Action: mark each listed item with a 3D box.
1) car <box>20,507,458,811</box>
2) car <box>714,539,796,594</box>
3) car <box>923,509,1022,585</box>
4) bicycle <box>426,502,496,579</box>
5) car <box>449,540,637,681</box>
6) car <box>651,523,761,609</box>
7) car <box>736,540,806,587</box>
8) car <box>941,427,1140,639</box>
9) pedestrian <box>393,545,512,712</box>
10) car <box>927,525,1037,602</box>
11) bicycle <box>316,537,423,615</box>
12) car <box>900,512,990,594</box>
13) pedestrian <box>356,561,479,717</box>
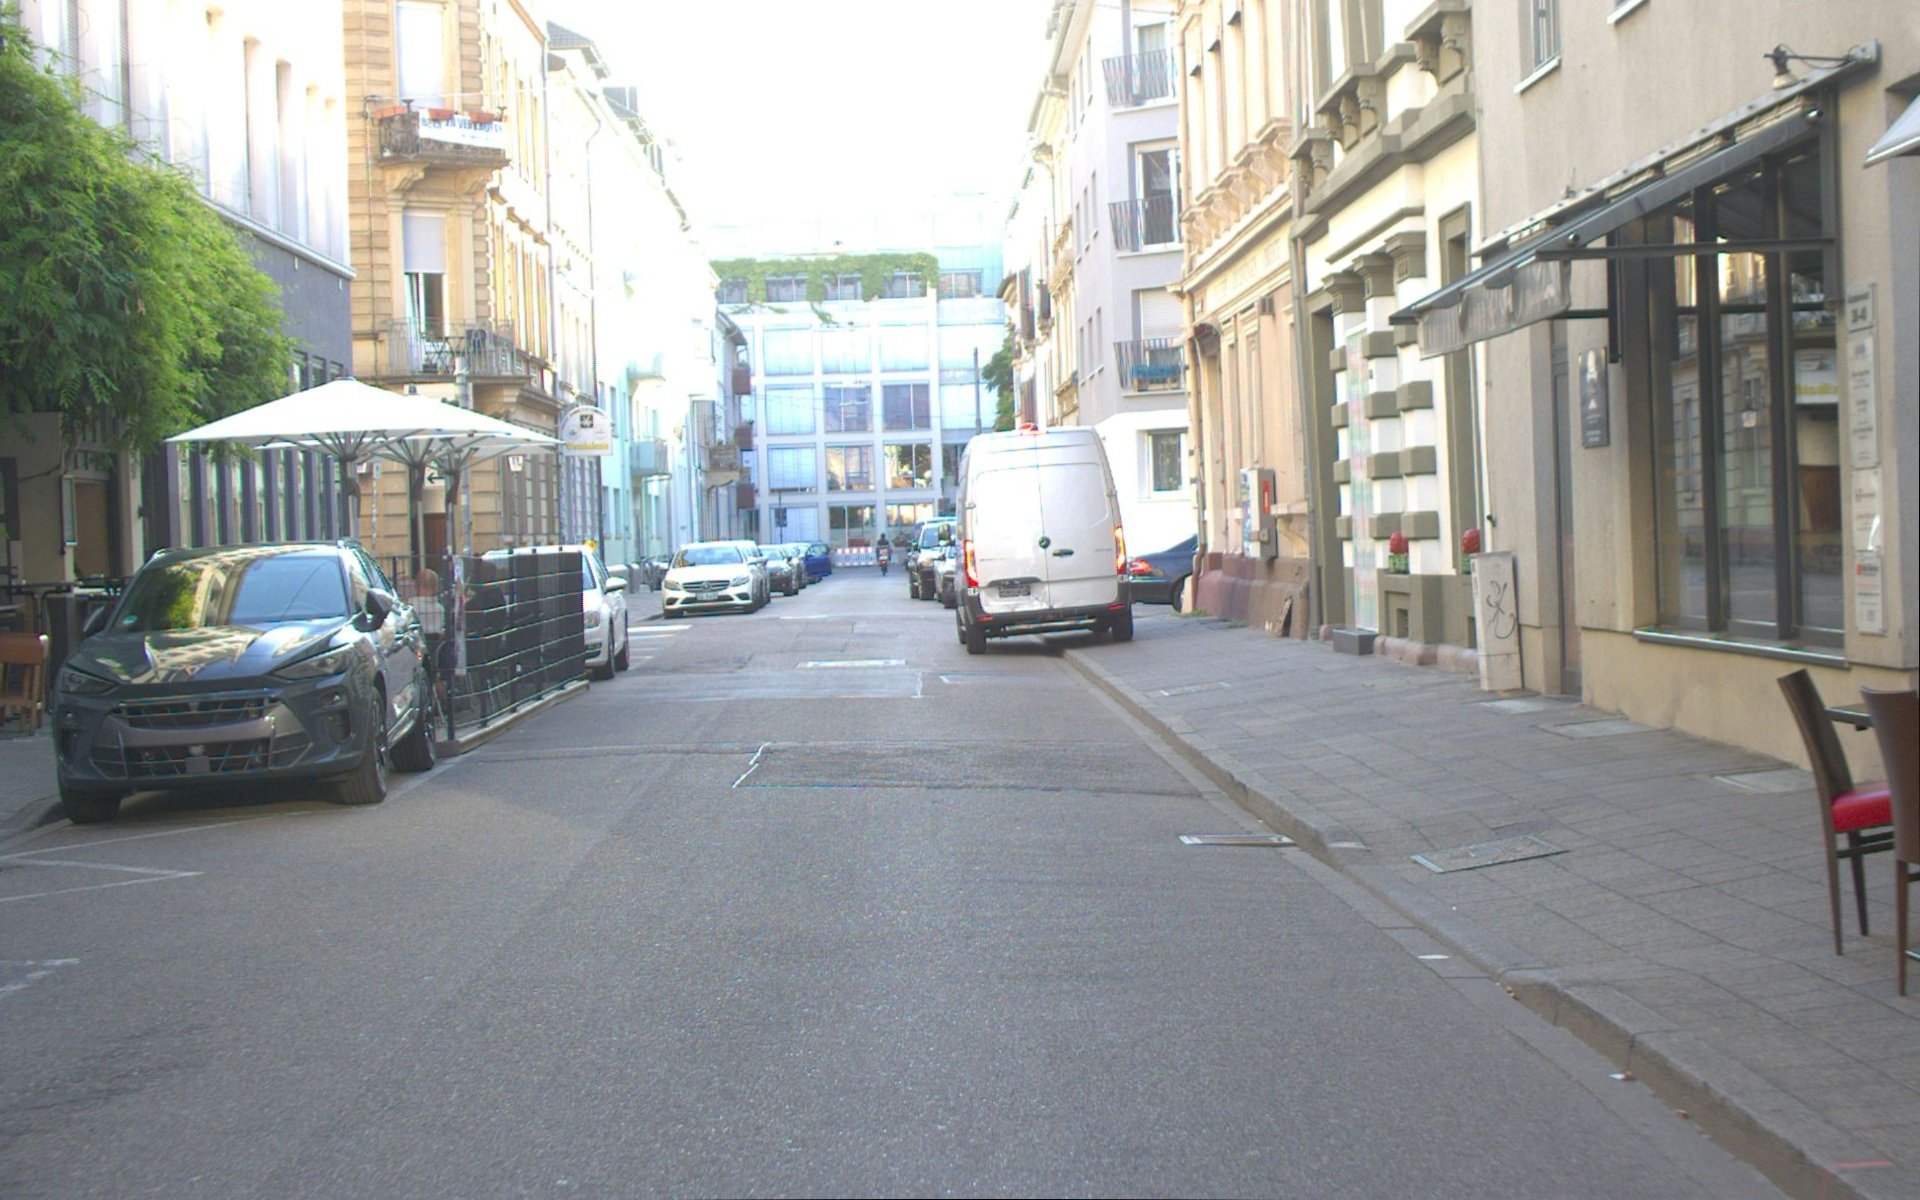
[{"bbox_3d":[-4.373,0.281,21.589,1.881,1.563,4.772,-4,1,-3],"label":"car"},{"bbox_3d":[-5.476,-0.915,92.187,1.993,1.350,4.429,-2,1,-1],"label":"car"},{"bbox_3d":[0.244,-1.152,74.322,1.963,1.552,3.889,-2,1,-2],"label":"car"},{"bbox_3d":[-6.120,-0.736,42.222,0.596,0.902,1.644,-2,1,0],"label":"bicycle"},{"bbox_3d":[-4.508,0.083,37.592,1.657,1.409,3.883,-2,1,-2],"label":"car"},{"bbox_3d":[-5.083,-0.710,69.301,1.993,1.559,4.507,-4,1,-3],"label":"car"},{"bbox_3d":[-6.047,-1.191,109.954,2.172,1.413,4.001,-2,1,-3],"label":"car"},{"bbox_3d":[0.948,-0.858,43.707,2.277,2.431,6.204,-2,1,0],"label":"car"},{"bbox_3d":[-4.064,0.219,27.600,0.781,1.282,0.915,-2,1,-1],"label":"pedestrian"},{"bbox_3d":[0.411,-0.740,68.258,1.938,1.367,3.789,-4,1,-2],"label":"car"},{"bbox_3d":[-10.408,-0.428,60.656,1.757,1.270,0.661,-2,4,-4],"label":"bicycle"},{"bbox_3d":[-0.370,-1.100,79.656,1.893,1.778,4.001,-2,1,-2],"label":"car"},{"bbox_3d":[-4.196,0.301,26.611,0.553,1.161,0.740,-2,1,31],"label":"pedestrian"}]
